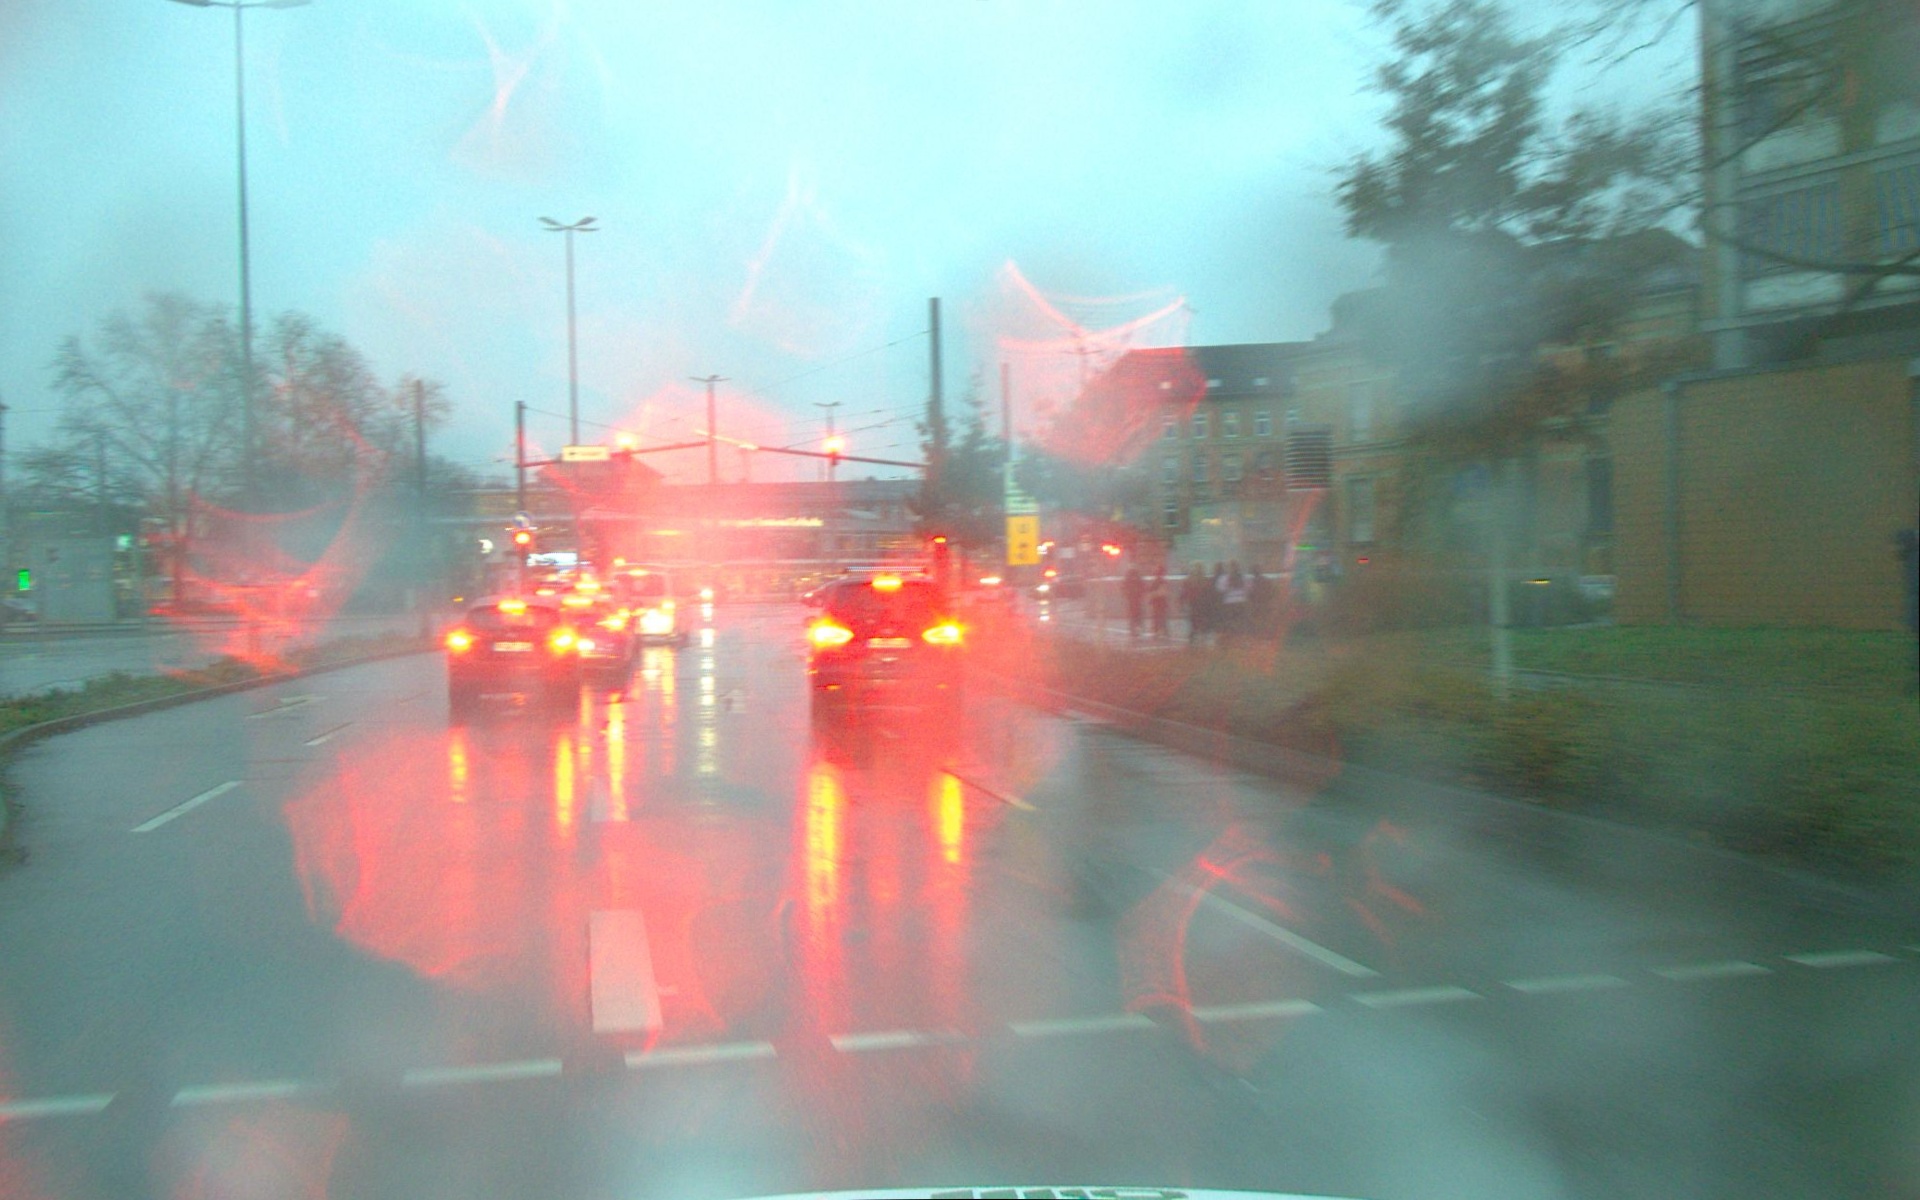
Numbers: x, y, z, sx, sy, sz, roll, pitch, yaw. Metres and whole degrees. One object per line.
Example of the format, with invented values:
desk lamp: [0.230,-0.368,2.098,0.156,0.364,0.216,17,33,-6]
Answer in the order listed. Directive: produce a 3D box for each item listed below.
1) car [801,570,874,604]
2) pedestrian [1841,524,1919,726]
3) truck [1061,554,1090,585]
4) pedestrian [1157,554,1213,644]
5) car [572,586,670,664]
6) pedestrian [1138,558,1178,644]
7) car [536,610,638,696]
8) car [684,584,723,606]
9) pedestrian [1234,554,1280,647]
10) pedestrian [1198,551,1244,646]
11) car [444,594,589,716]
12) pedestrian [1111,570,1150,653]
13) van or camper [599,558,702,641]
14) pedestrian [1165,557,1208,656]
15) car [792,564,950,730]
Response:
car: [-7.099,-0.745,95.644,3.919,1.802,1.993,-2,1,-14]
pedestrian: [8.469,0.192,14.456,0.793,1.717,1.067,-3,0,-11]
truck: [10.870,-2.868,155.351,1.951,2.738,5.120,-2,0,12]
pedestrian: [4.645,-0.029,34.212,0.841,1.822,0.742,-2,0,-28]
car: [-7.541,0.513,37.142,1.751,1.628,4.534,1,0,-7]
pedestrian: [4.785,0.014,39.966,0.790,2.048,0.760,0,3,19]
car: [-6.864,0.933,30.739,1.629,1.428,4.110,1,0,-10]
car: [-17.928,-0.366,115.821,1.775,1.472,4.002,-2,0,4]
pedestrian: [5.600,0.010,31.164,0.703,1.717,0.760,-2,0,19]
pedestrian: [4.864,-0.035,30.844,0.653,1.716,0.612,-3,2,20]
car: [-6.119,0.705,23.158,1.670,1.507,3.861,1,0,-11]
pedestrian: [4.133,0.262,40.035,0.790,1.963,0.760,0,3,19]
van or camper: [-8.395,-0.029,45.291,2.158,2.146,4.983,0,0,-4]
pedestrian: [4.267,0.118,31.064,0.571,1.812,0.769,-3,0,19]
car: [-1.158,0.484,20.664,1.743,1.831,4.421,-1,1,-4]
